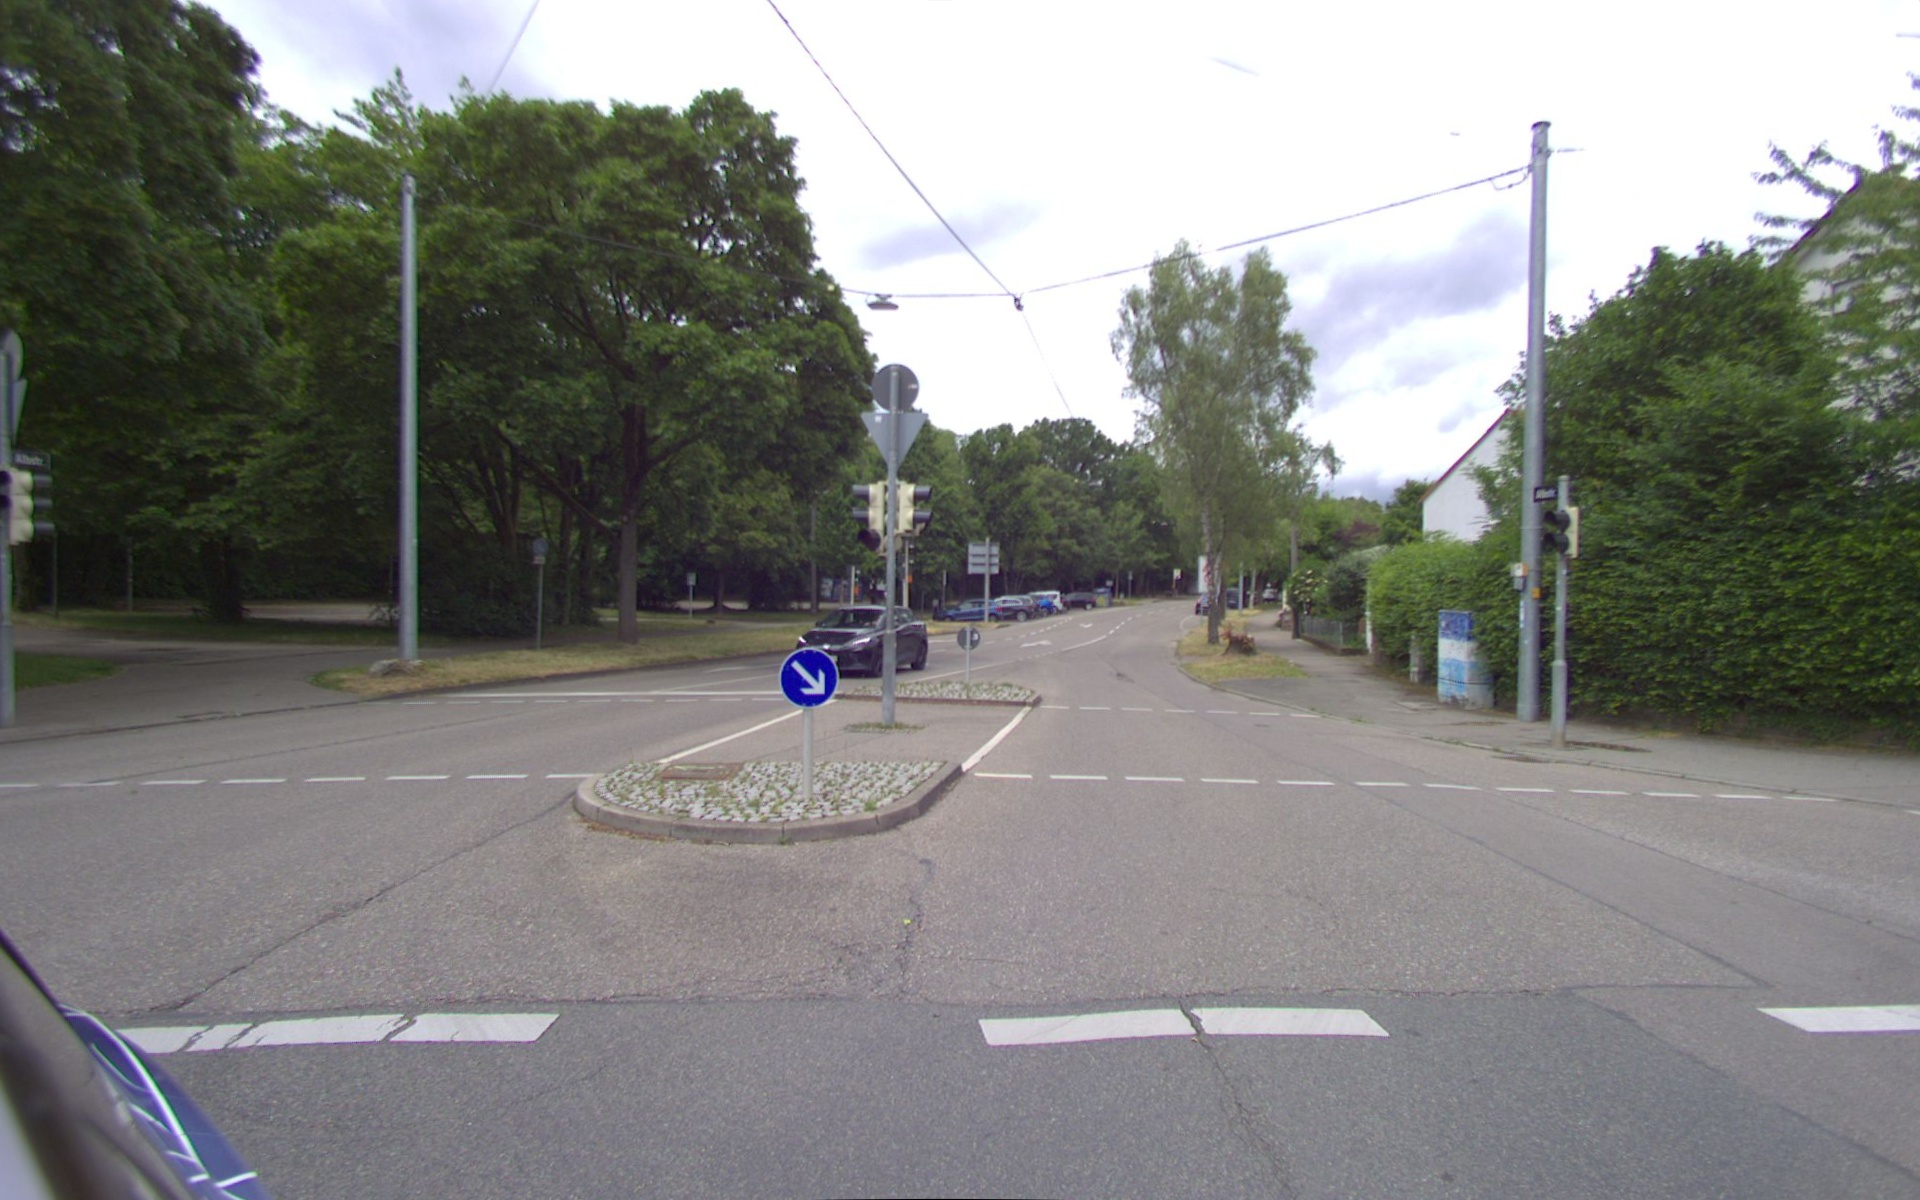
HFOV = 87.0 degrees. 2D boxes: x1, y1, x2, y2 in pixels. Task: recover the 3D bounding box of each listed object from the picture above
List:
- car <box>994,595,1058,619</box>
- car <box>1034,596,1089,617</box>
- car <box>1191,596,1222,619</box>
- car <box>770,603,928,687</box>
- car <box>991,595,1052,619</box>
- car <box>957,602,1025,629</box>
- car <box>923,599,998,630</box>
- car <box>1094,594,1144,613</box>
[{"bbox_3d":[4.730,0.503,72.958,4.351,1.621,2.003,1,0,-6],"label":"car"},{"bbox_3d":[8.336,0.521,83.582,4.360,1.621,1.998,1,0,3],"label":"car"},{"bbox_3d":[20.252,0.623,83.090,1.961,1.620,4.390,3,3,20],"label":"car"},{"bbox_3d":[-2.306,0.920,22.114,1.983,1.630,3.977,-2,-1,17],"label":"car"},{"bbox_3d":[4.104,0.468,68.093,3.943,1.497,1.919,1,0,0],"label":"car"},{"bbox_3d":[1.838,0.924,60.413,3.943,1.497,1.919,1,0,0],"label":"car"},{"bbox_3d":[0.005,0.779,55.335,3.940,1.497,1.920,1,1,-3],"label":"car"},{"bbox_3d":[14.215,0.291,90.933,4.368,1.621,1.995,1,0,8],"label":"car"}]
